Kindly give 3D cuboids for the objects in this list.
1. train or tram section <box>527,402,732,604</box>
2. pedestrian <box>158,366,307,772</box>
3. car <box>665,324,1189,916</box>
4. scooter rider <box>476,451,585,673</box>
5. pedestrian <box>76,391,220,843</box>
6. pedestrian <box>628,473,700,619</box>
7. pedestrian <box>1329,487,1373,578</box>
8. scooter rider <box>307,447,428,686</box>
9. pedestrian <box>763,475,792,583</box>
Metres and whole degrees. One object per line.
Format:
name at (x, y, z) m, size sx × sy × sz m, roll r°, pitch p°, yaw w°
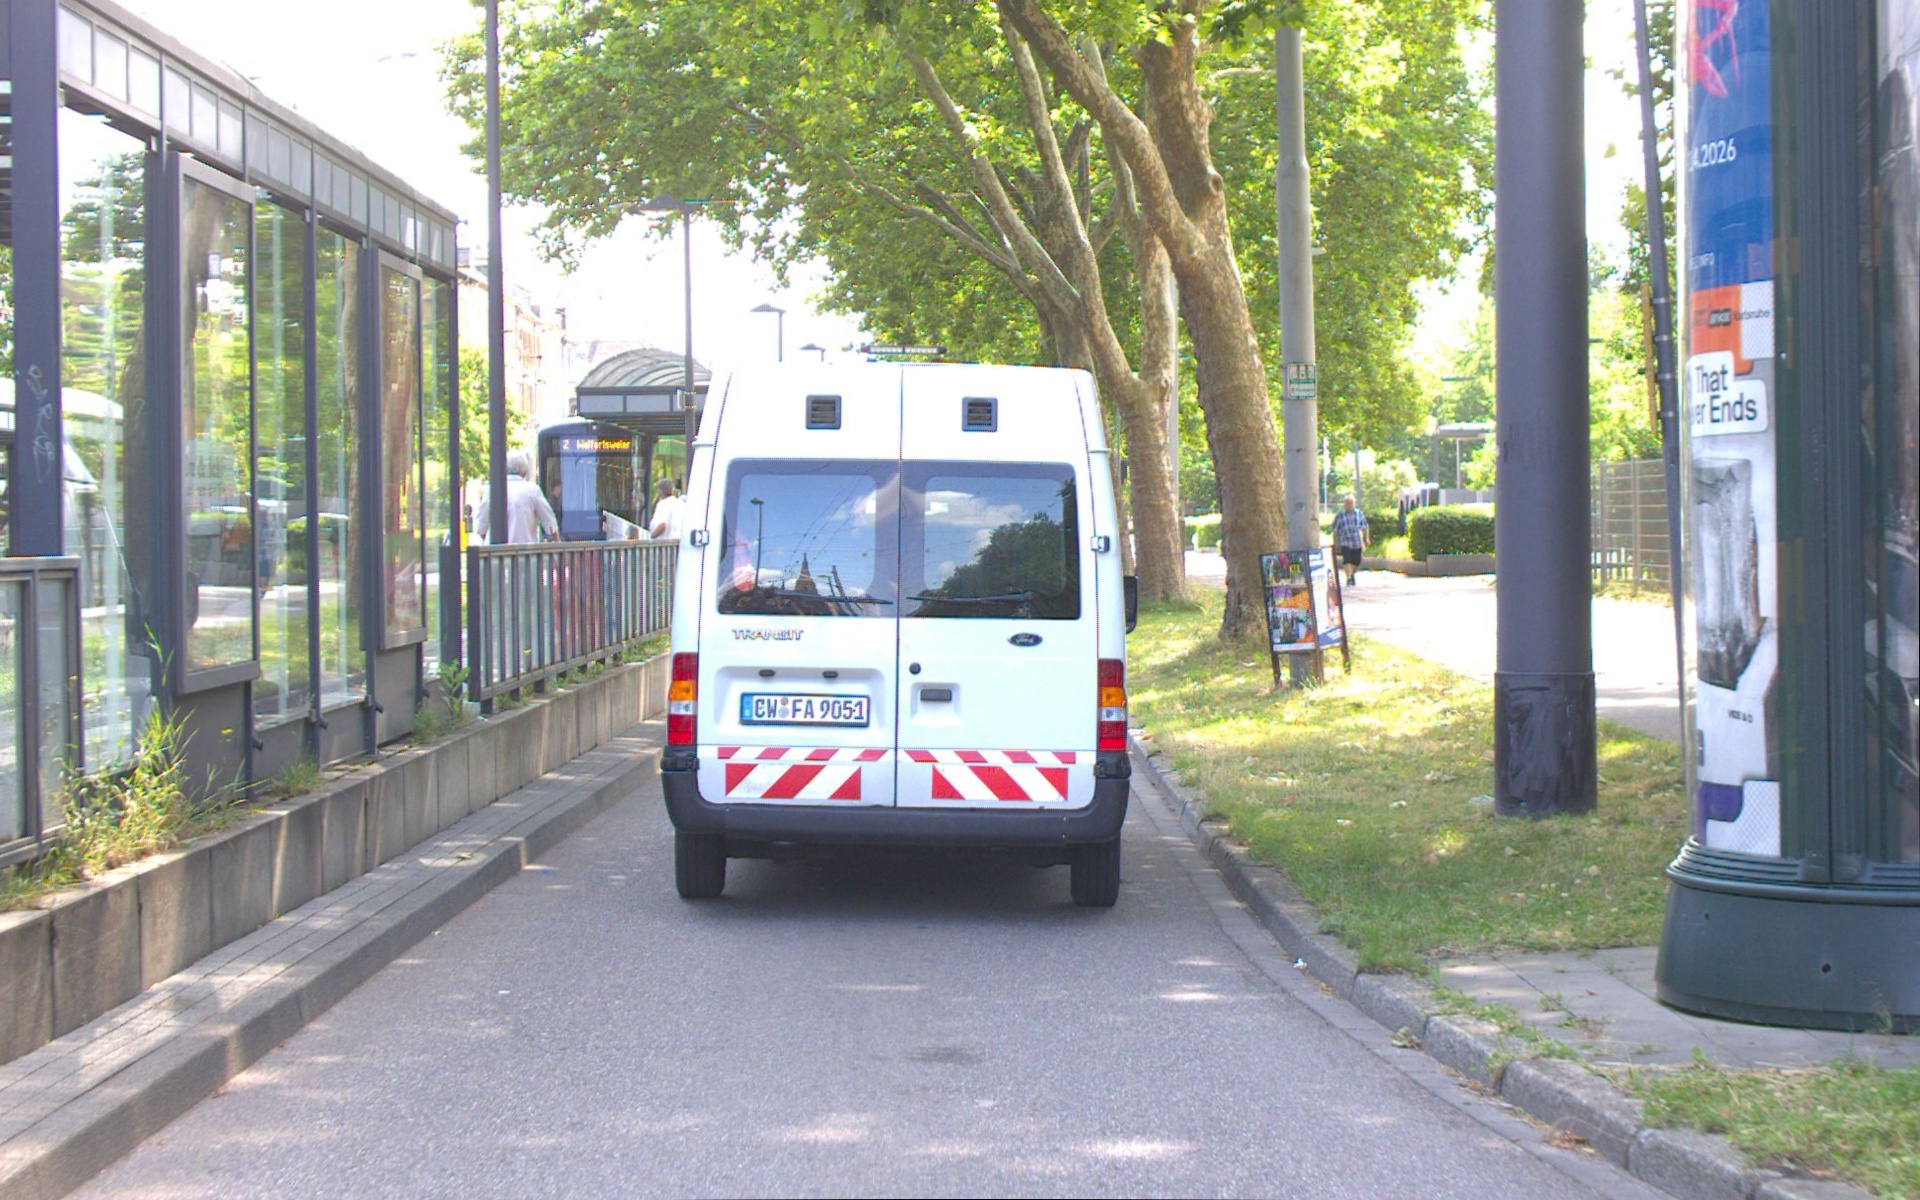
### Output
train or tram section at (-6.304, -1.880, 67.578) m, size 2.723 × 3.572 × 13.017 m, roll 0°, pitch 1°, yaw 0°
pedestrian at (-2.998, -0.133, 14.189) m, size 0.470 × 1.635 × 0.537 m, roll -1°, pitch 1°, yaw -1°
car at (-0.145, 0.009, 16.032) m, size 2.047 × 2.325 × 4.715 m, roll -1°, pitch 2°, yaw 0°
scooter rider at (-3.103, -0.281, 24.884) m, size 0.654 × 1.565 × 0.901 m, roll -1°, pitch 1°, yaw 0°
pedestrian at (-3.485, 0.063, 14.743) m, size 0.470 × 1.894 × 0.537 m, roll -2°, pitch 1°, yaw -24°
pedestrian at (-3.096, -0.569, 35.984) m, size 0.676 × 1.510 × 0.596 m, roll -1°, pitch 1°, yaw -1°
pedestrian at (7.068, -1.216, 62.097) m, size 0.693 × 1.620 × 0.637 m, roll -1°, pitch 1°, yaw 0°
scooter rider at (-4.070, -0.239, 23.675) m, size 0.654 × 1.608 × 0.901 m, roll -1°, pitch 1°, yaw 0°
pedestrian at (-2.704, -1.049, 50.901) m, size 0.385 × 1.586 × 0.439 m, roll -1°, pitch 1°, yaw 0°
